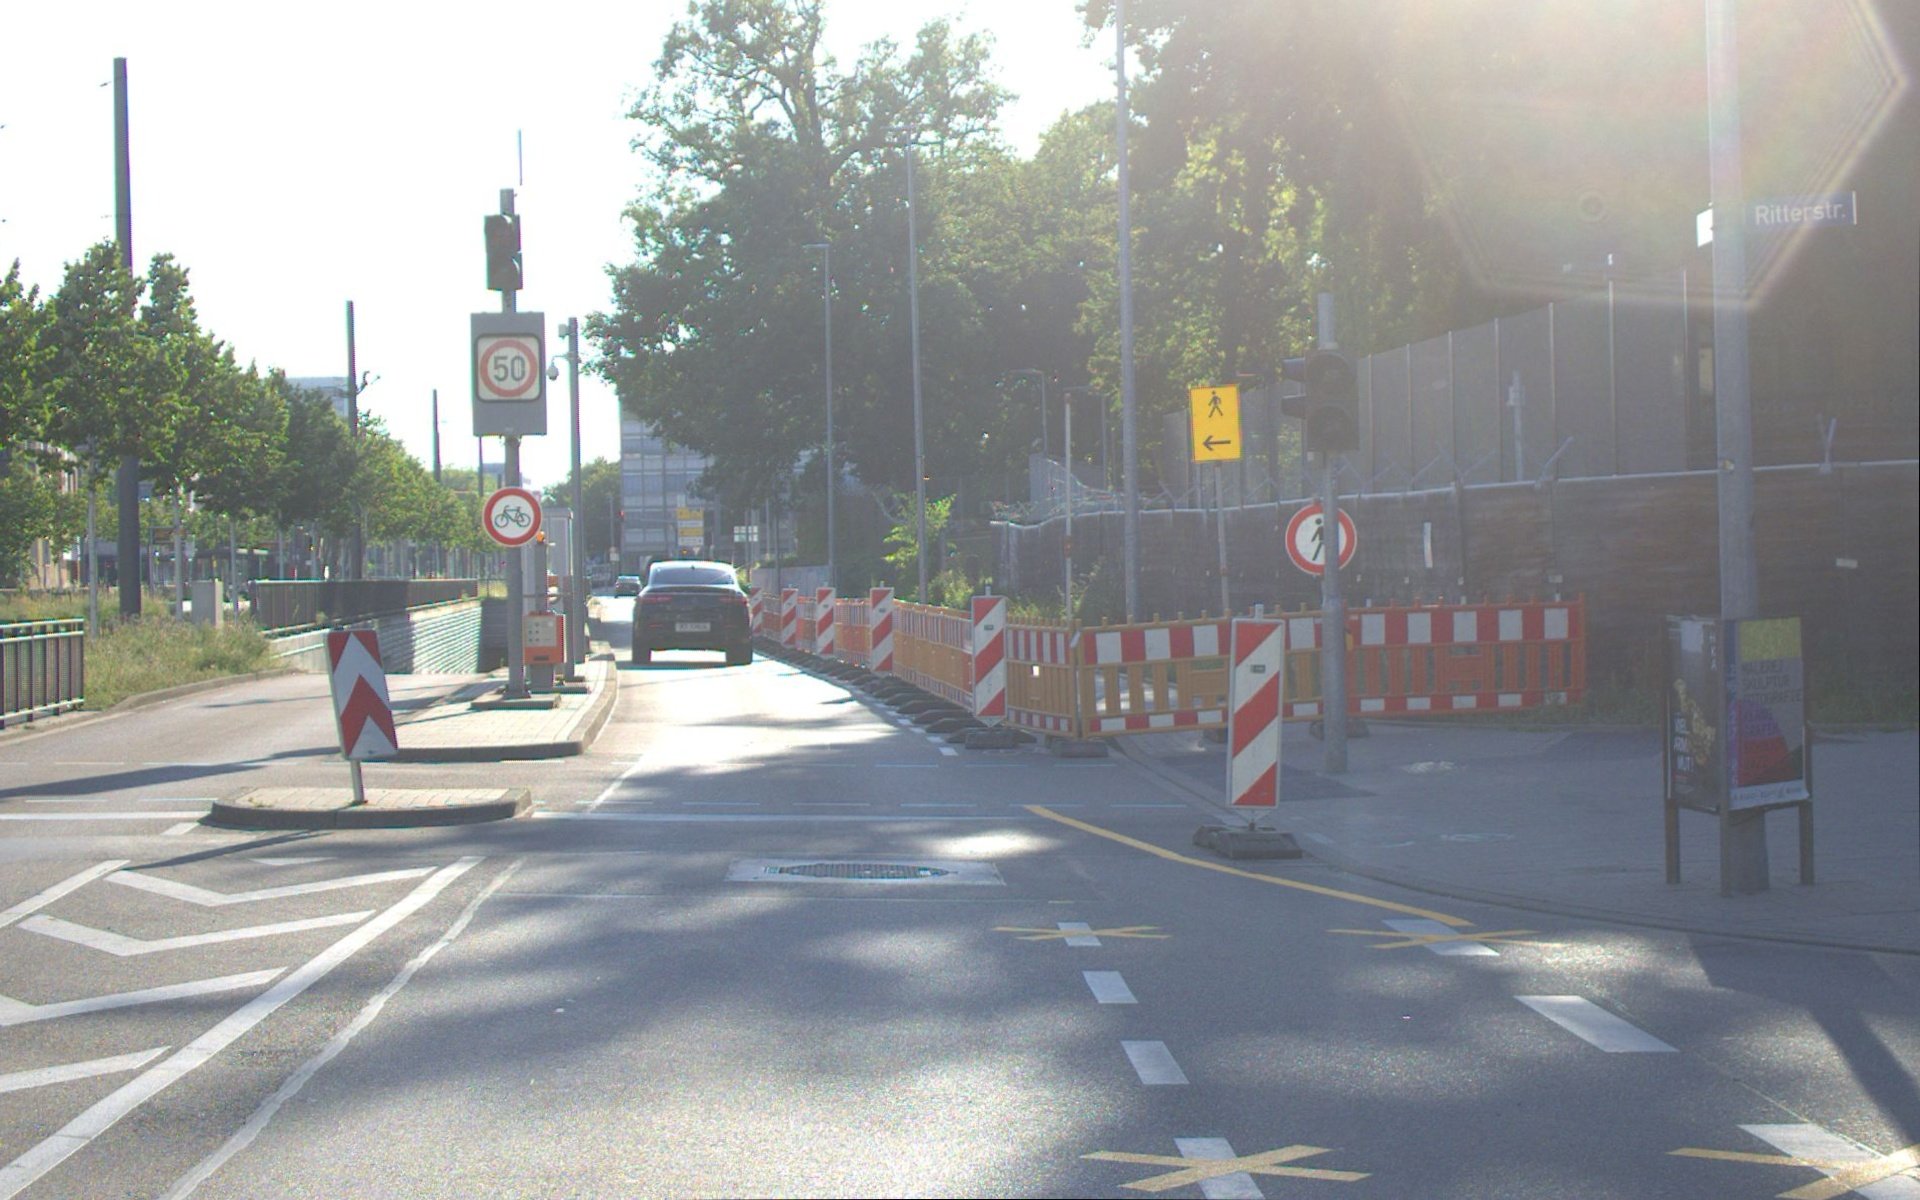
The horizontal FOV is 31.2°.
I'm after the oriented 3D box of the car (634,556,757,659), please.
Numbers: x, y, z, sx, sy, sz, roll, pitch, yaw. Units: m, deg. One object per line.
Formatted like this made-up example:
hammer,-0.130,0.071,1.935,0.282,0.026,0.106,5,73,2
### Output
car,-4.518,0.122,58.396,2.005,1.653,4.001,1,0,-5
